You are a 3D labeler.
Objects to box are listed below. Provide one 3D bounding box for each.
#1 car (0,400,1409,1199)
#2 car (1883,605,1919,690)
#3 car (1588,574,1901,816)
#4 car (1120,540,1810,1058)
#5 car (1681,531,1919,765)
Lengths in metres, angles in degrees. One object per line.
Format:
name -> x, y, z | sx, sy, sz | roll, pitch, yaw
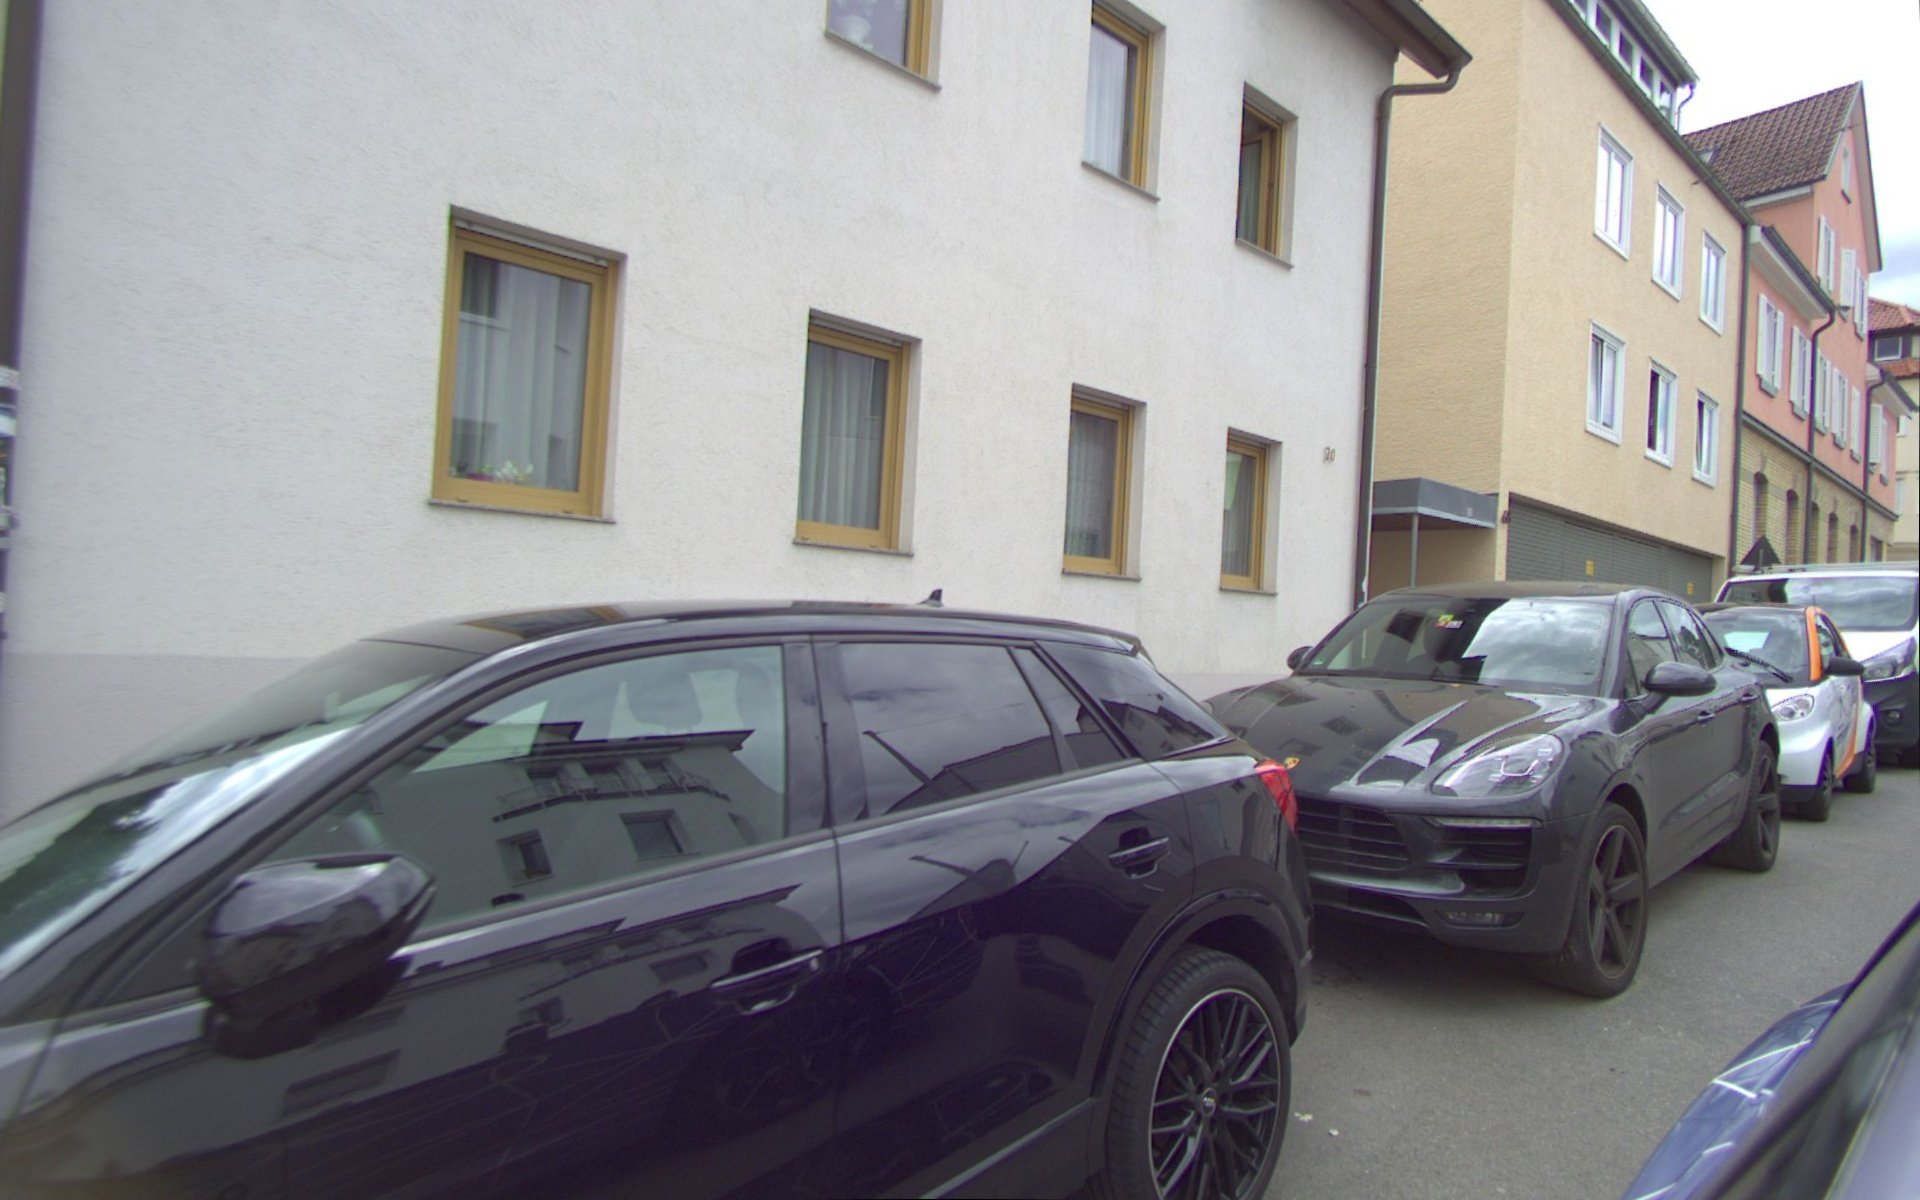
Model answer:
car -> -0.833, 0.611, 2.179 | 4.000, 1.586, 1.718 | 1, -1, -40
car -> 18.463, 0.809, 18.498 | 4.496, 1.421, 1.854 | 0, -2, -42
car -> 6.421, 0.652, 8.223 | 2.741, 1.617, 1.489 | 1, -1, -41
car -> 2.917, 0.648, 5.293 | 4.420, 1.617, 1.715 | 1, -1, -42
car -> 10.071, 0.458, 11.371 | 5.631, 2.056, 1.909 | 1, -1, -41
